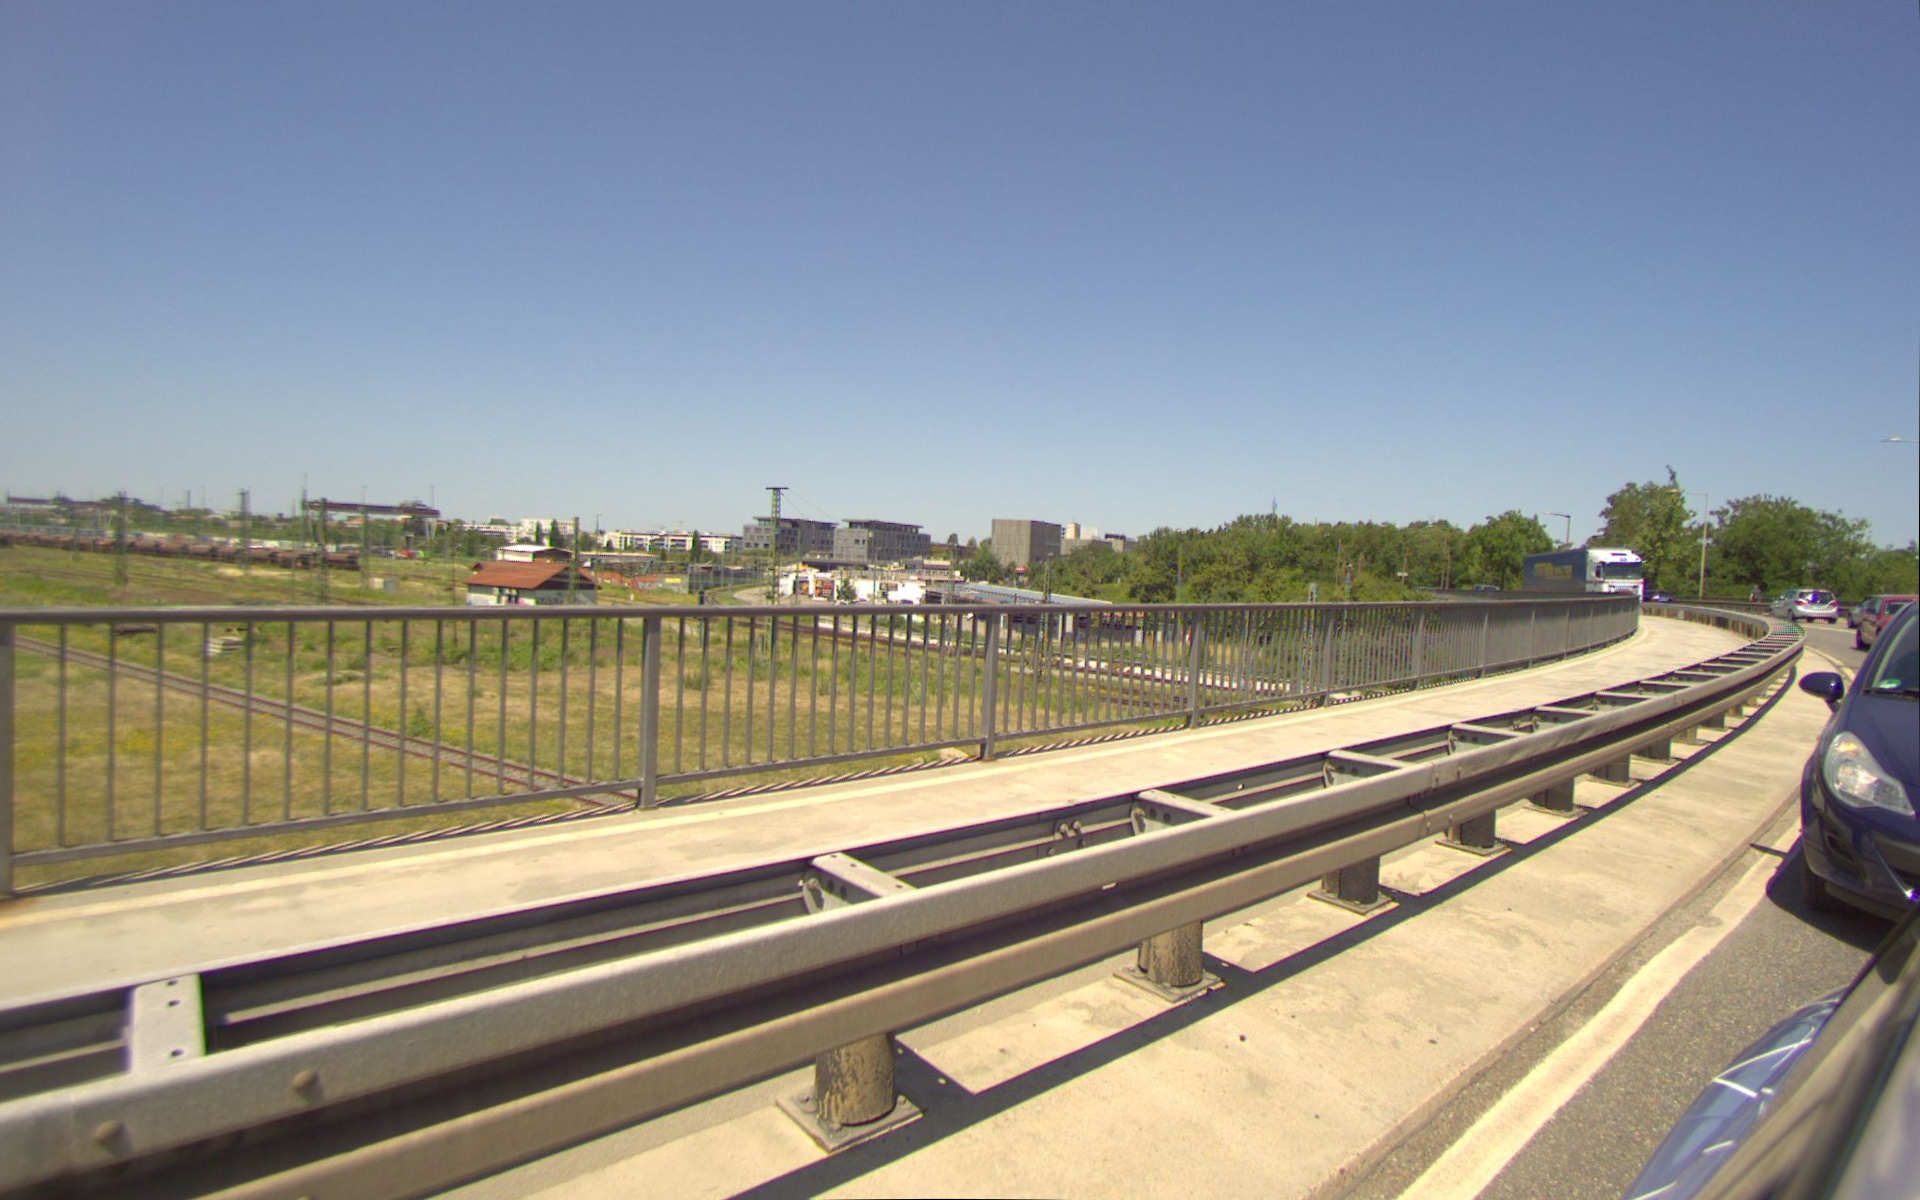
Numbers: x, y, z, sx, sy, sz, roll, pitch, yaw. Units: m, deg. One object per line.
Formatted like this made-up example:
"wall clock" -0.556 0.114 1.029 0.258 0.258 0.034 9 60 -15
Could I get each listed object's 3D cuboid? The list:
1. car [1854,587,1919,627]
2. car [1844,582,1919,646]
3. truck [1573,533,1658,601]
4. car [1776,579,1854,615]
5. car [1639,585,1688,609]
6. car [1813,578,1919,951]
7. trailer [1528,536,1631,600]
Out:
"car" 35.825 0.230 38.567 1.686 1.393 3.962 2 2 27
"car" 23.432 0.306 24.939 1.782 1.473 4.471 1 1 32
"truck" 43.403 -2.140 67.225 2.657 4.281 6.810 -1 1 14
"car" 40.836 -0.196 48.450 1.723 1.599 4.143 1 2 24
"car" 47.550 -0.225 68.451 1.757 1.456 4.359 1 2 22
"car" 5.481 0.632 4.988 1.641 1.457 3.936 1 1 45
"trailer" 45.107 -2.312 74.247 2.662 4.287 12.662 0 1 14
